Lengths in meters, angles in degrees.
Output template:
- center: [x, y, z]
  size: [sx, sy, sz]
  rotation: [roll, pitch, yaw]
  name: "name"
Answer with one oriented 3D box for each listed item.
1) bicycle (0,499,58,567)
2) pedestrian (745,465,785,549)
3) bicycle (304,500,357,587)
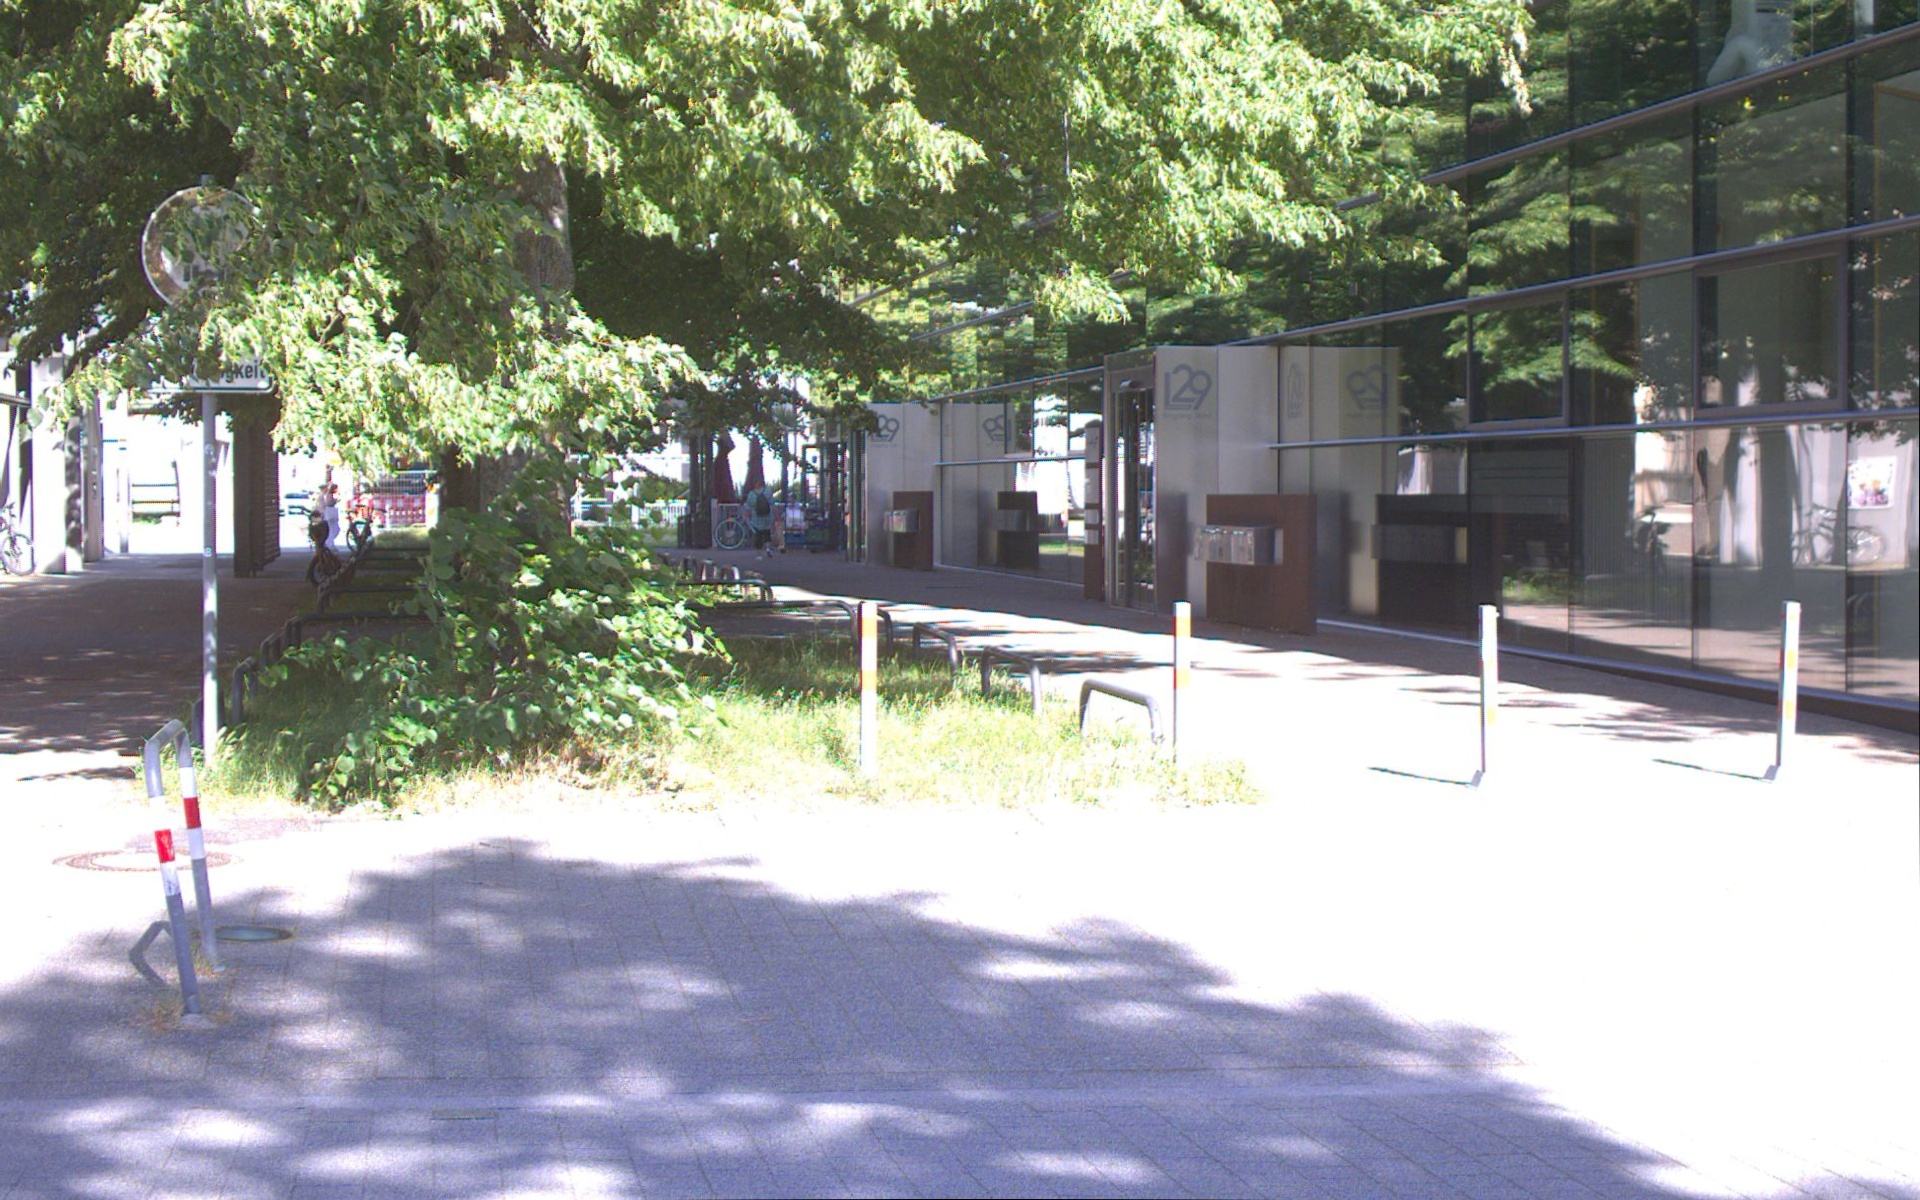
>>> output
- center: [-15.275, -1.053, 54.071]
  size: [2.057, 1.062, 0.507]
  rotation: [0, 2, -6]
  name: "bicycle"
- center: [-3.617, -1.721, 63.743]
  size: [0.716, 1.545, 0.690]
  rotation: [0, 2, -2]
  name: "pedestrian"
- center: [-9.011, -0.826, 49.151]
  size: [0.619, 1.193, 2.132]
  rotation: [0, 2, -13]
  name: "bicycle"
